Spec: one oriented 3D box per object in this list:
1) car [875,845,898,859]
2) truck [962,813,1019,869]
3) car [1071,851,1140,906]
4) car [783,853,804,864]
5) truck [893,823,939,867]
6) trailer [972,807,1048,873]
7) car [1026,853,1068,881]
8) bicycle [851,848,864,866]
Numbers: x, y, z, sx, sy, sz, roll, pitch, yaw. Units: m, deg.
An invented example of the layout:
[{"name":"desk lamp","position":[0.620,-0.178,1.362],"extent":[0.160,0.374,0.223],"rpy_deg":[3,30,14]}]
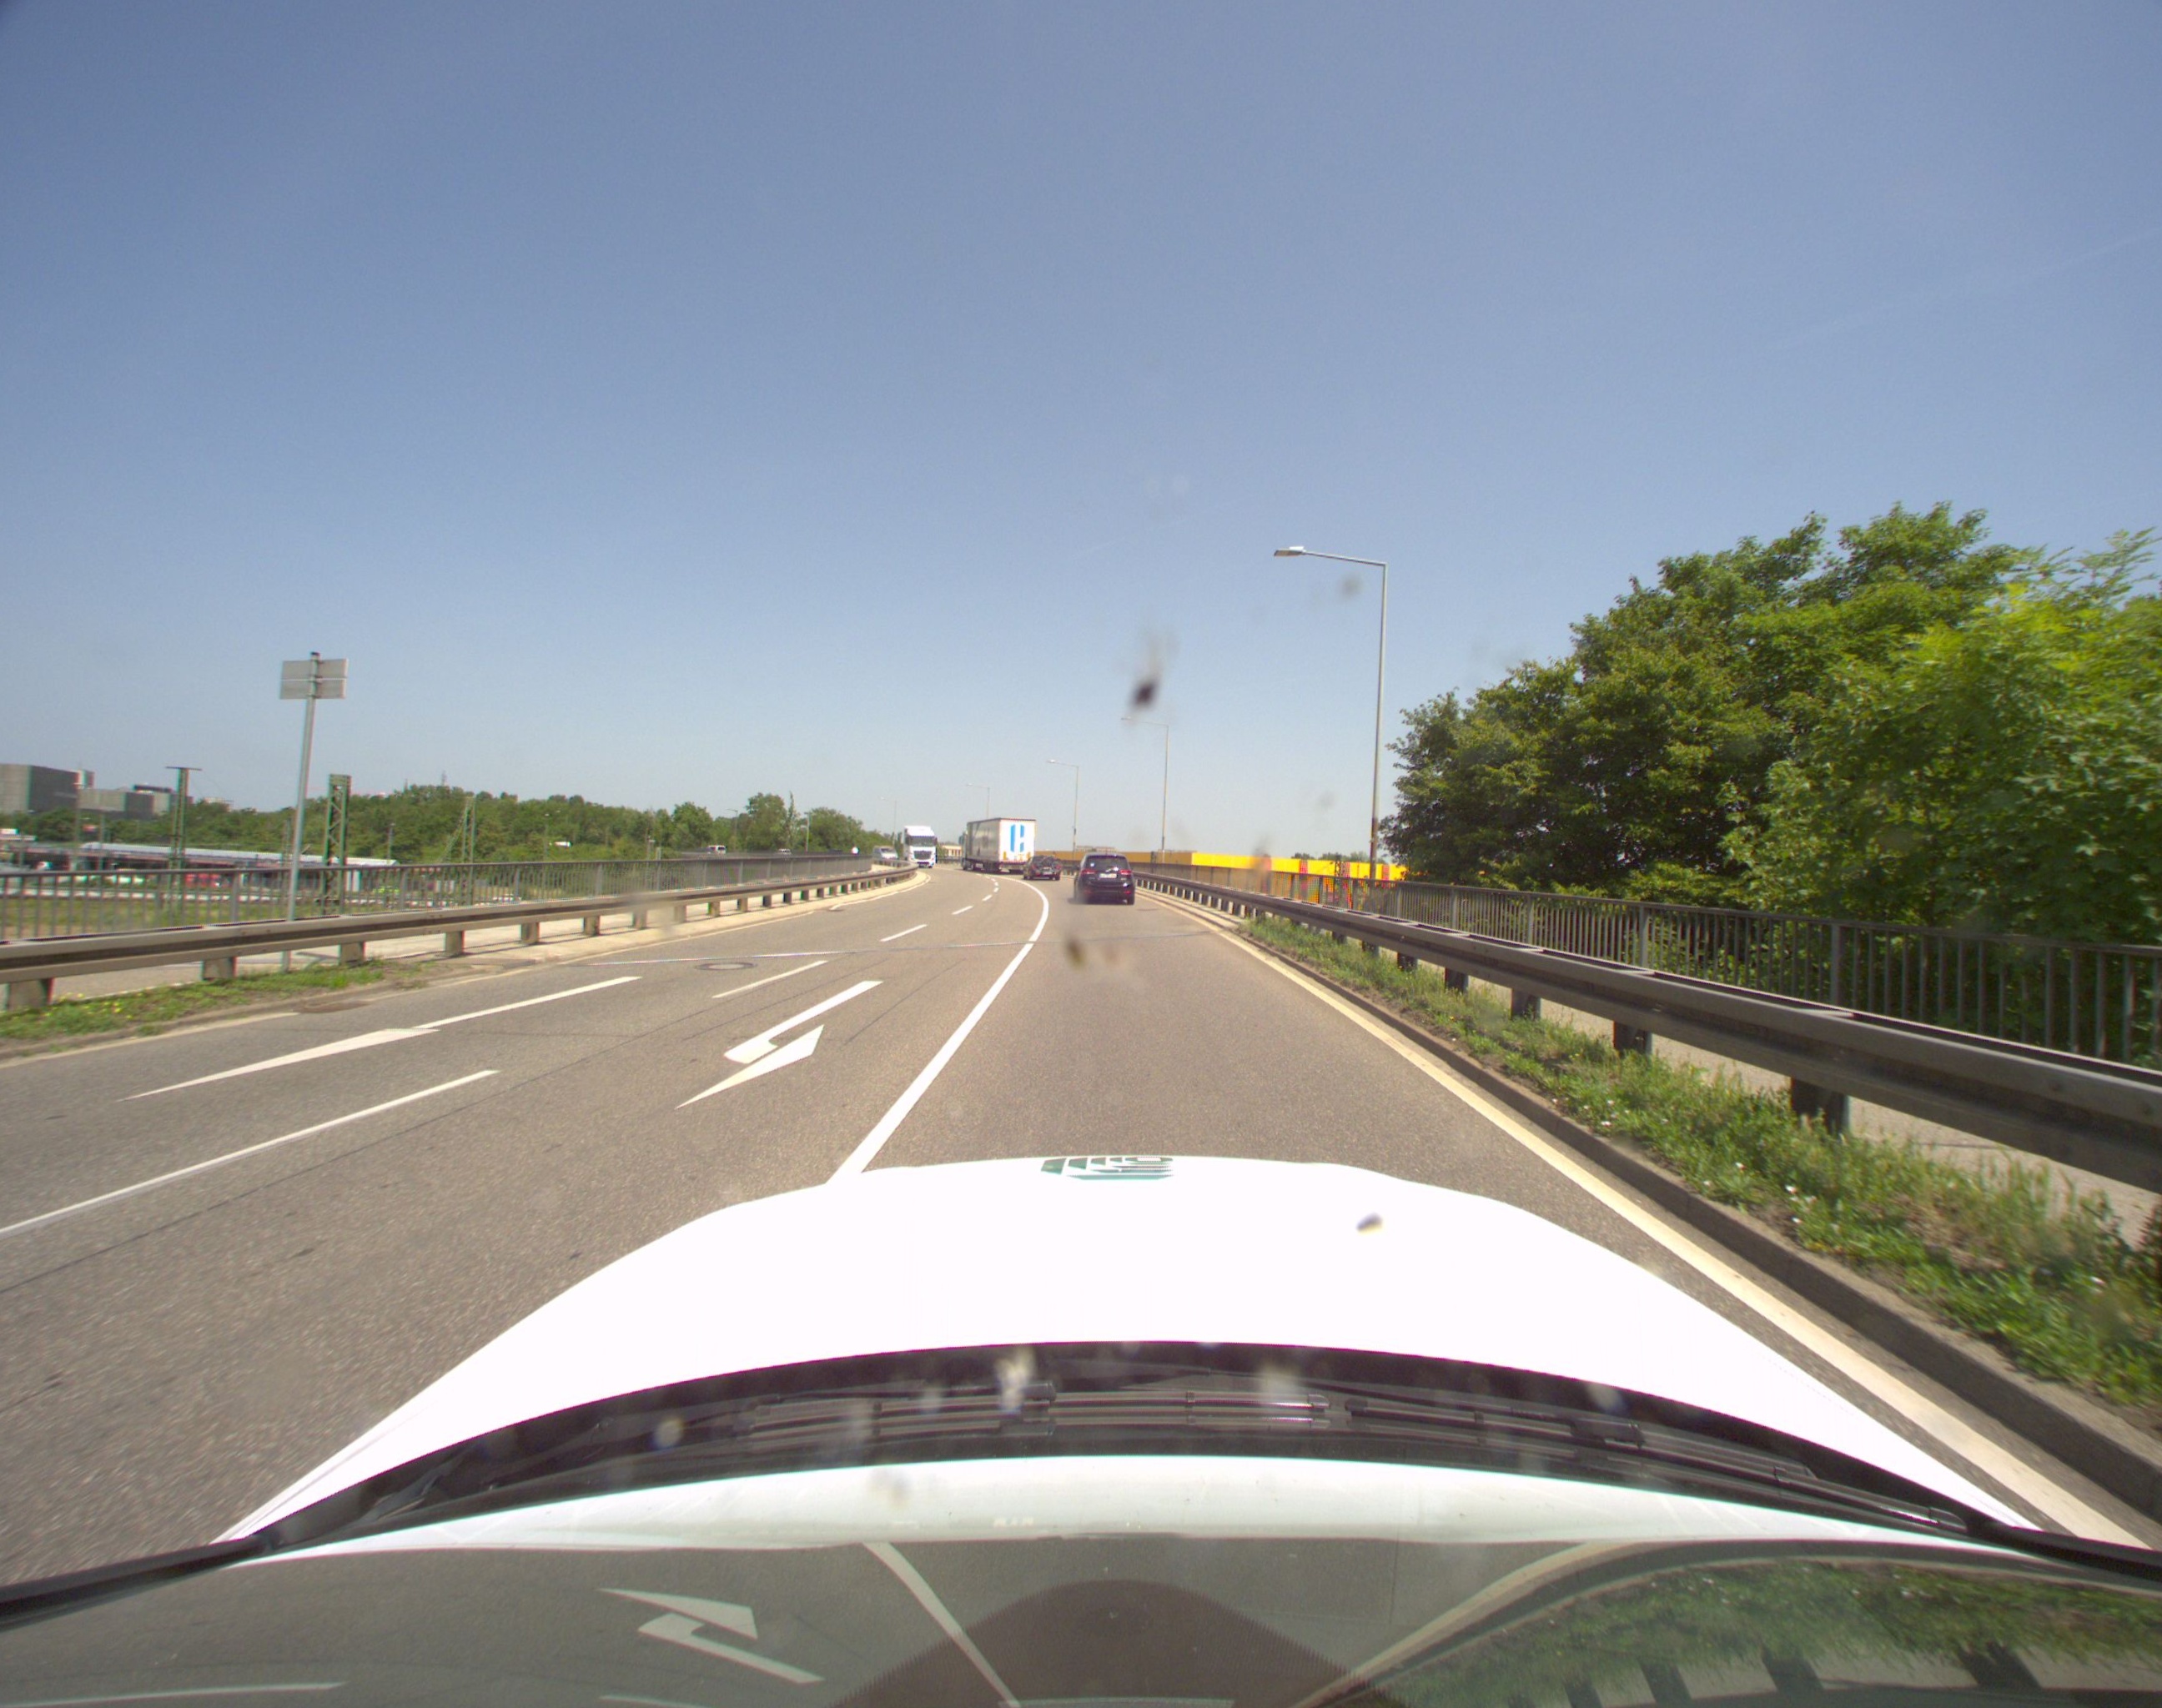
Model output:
[{"name":"car","position":[-21.055,-0.202,87.953],"extent":[1.567,1.386,3.583],"rpy_deg":[2,0,-28]},{"name":"truck","position":[-7.722,-1.061,68.946],"extent":[3.581,4.441,6.479],"rpy_deg":[2,0,-17]},{"name":"car","position":[0.709,0.722,26.189],"extent":[1.917,1.574,3.888],"rpy_deg":[2,0,-2]},{"name":"car","position":[-44.107,0.652,124.909],"extent":[1.688,1.640,3.727],"rpy_deg":[2,0,-40]},{"name":"truck","position":[-15.650,-0.842,77.034],"extent":[2.719,3.991,6.135],"rpy_deg":[2,0,-25]},{"name":"trailer","position":[-5.628,-1.020,61.711],"extent":[3.577,4.384,11.380],"rpy_deg":[2,0,-16]},{"name":"car","position":[-1.972,0.716,46.017],"extent":[2.010,1.429,3.767],"rpy_deg":[2,0,-8]},{"name":"bicycle","position":[-23.094,0.304,84.114],"extent":[0.702,1.801,2.161],"rpy_deg":[2,0,-29]}]
